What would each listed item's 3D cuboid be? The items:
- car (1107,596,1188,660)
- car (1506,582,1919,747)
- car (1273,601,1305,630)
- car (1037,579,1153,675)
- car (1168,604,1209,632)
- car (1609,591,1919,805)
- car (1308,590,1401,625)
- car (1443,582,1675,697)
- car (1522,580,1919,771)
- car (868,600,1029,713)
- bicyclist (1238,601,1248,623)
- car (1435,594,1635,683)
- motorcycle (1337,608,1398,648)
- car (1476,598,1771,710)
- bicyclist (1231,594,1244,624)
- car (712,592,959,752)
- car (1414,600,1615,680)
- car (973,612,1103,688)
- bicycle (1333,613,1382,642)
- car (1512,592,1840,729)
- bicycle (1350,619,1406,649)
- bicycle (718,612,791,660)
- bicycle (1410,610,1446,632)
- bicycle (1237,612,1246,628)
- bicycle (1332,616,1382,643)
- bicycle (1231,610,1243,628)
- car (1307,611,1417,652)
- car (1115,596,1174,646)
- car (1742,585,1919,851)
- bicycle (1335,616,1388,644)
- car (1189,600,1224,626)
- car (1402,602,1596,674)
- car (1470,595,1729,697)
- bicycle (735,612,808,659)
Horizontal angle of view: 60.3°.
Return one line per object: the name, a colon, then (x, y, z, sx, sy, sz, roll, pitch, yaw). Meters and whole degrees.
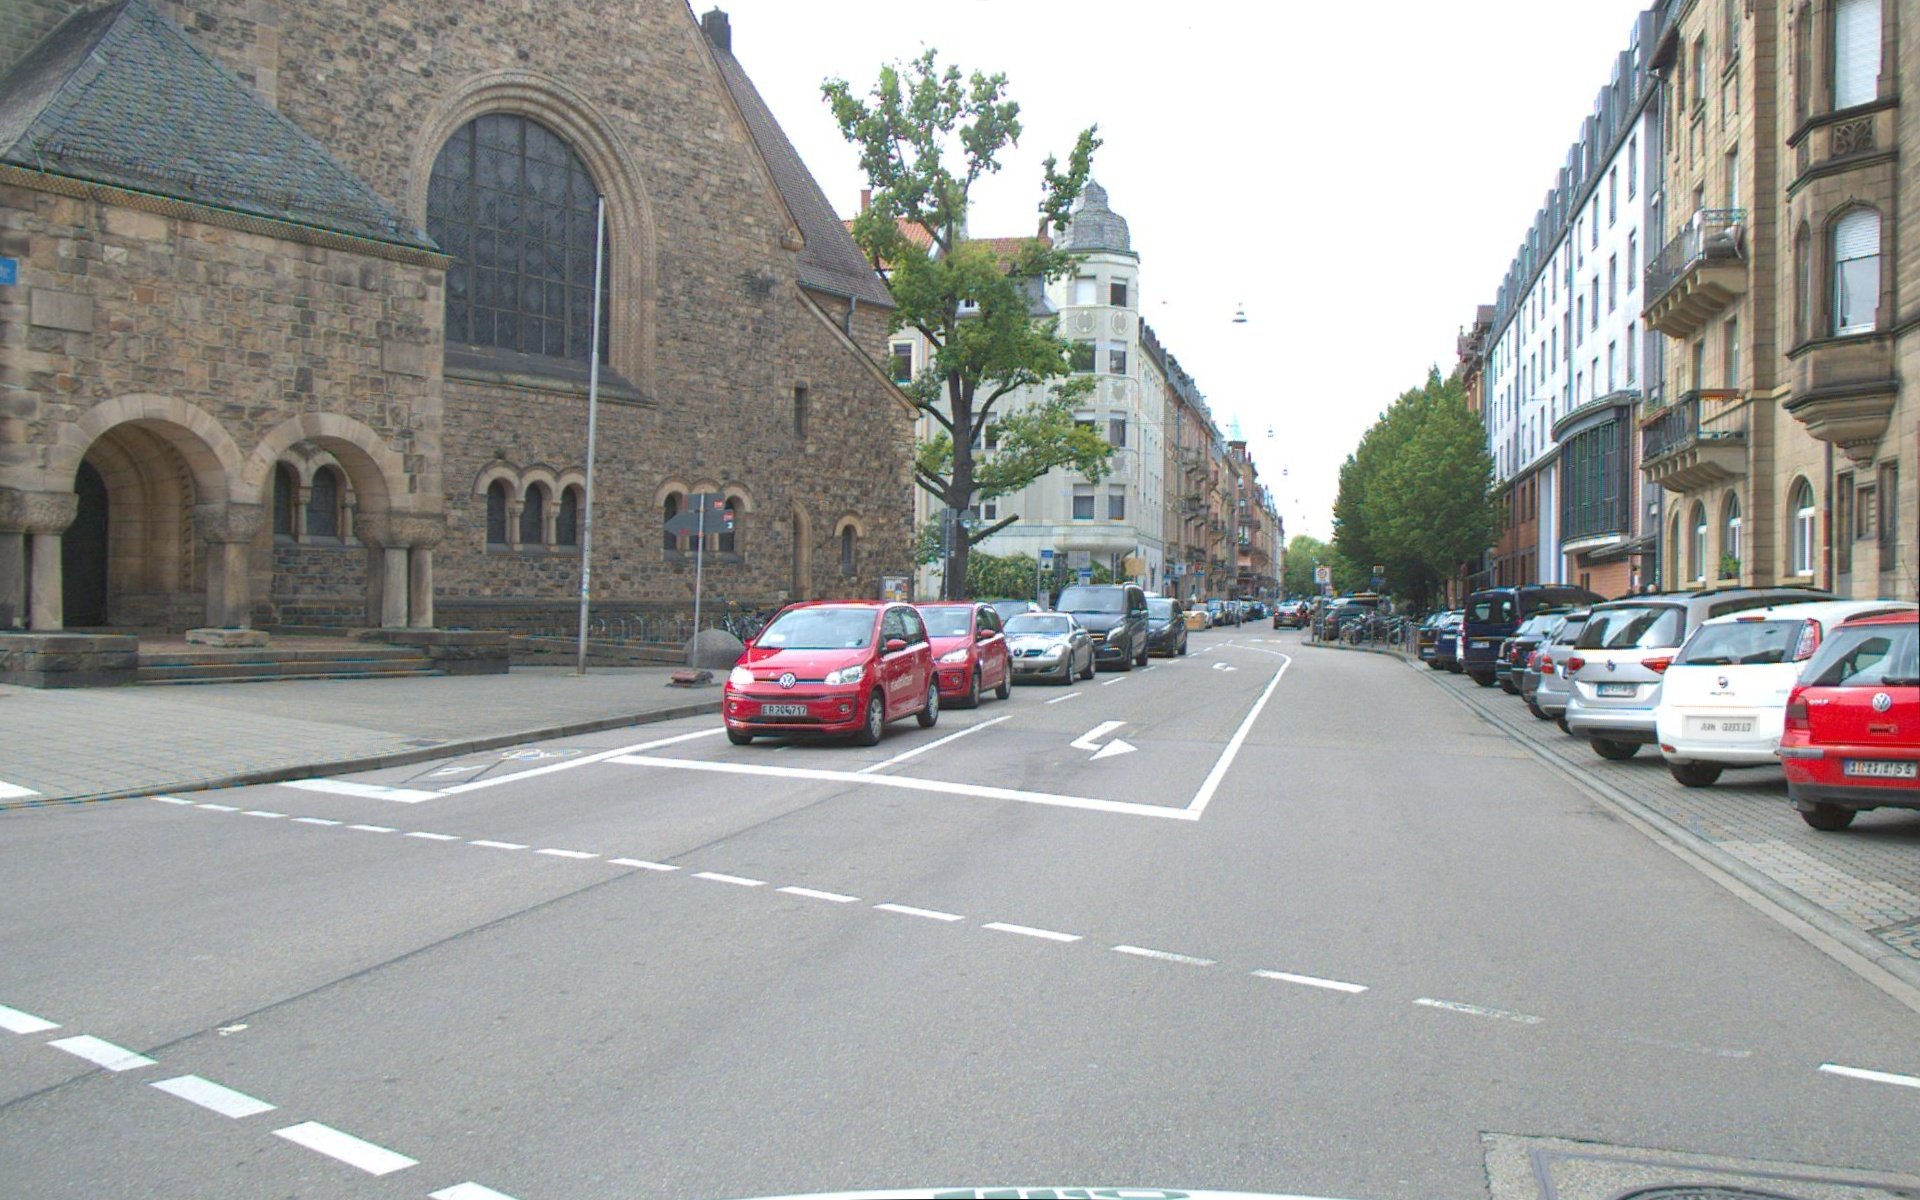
car: (5.445, 0.765, 47.539, 1.805, 1.713, 4.552, 1, 0, 13)
car: (9.109, 0.725, 19.970, 4.674, 1.715, 1.922, -1, -1, -24)
car: (21.064, 1.018, 105.829, 1.951, 1.710, 4.003, 1, -1, 11)
car: (3.153, 0.570, 37.567, 1.871, 1.989, 5.288, 1, 0, 13)
car: (13.372, 1.040, 96.623, 1.903, 1.580, 3.820, 0, -1, 15)
car: (7.506, 0.736, 14.056, 3.537, 1.535, 1.831, -2, -1, -29)
car: (24.608, 0.461, 103.188, 5.527, 2.164, 1.938, 0, -1, -22)
car: (11.548, 0.718, 31.844, 4.222, 1.940, 1.862, -3, 1, -29)
car: (7.994, 0.698, 16.701, 4.151, 1.712, 1.903, -1, -1, -22)
car: (-0.087, 0.792, 24.078, 1.568, 1.482, 3.721, -1, -1, 12)
bicyclist: (18.668, 0.813, 109.178, 0.654, 1.423, 0.784, 1, -1, 10)
car: (12.146, 0.774, 34.923, 3.941, 1.629, 1.750, -3, 1, -28)
motorcycle: (14.891, 1.026, 60.437, 2.088, 1.455, 0.771, -1, -2, 10)
car: (10.379, 0.793, 25.833, 4.396, 1.580, 1.836, -1, 0, -26)
bicyclist: (17.624, 0.572, 105.115, 0.765, 1.899, 0.715, 1, 0, 14)
car: (-1.252, 0.714, 18.317, 1.614, 1.555, 3.897, -2, 0, 13)
car: (12.586, 0.871, 37.604, 3.924, 1.560, 1.923, -3, 1, -17)
car: (1.535, 0.910, 30.937, 1.668, 1.309, 4.045, -2, -1, 14)
bicycle: (15.833, 1.093, 65.833, 1.843, 1.161, 0.612, -1, -2, 10)
car: (9.942, 0.773, 22.914, 4.397, 1.601, 1.732, -2, 0, -26)
bicycle: (15.520, 1.268, 61.381, 1.966, 1.081, 0.612, -1, -2, 10)
bicycle: (-5.214, 0.907, 41.945, 1.743, 1.150, 0.661, 1, 0, 26)
bicycle: (24.163, 1.093, 85.428, 1.715, 1.111, 0.566, 1, -1, 12)
bicycle: (18.583, 1.304, 109.120, 0.524, 0.995, 1.866, 1, -1, 12)
bicycle: (15.338, 1.144, 63.900, 1.843, 1.062, 0.612, -1, -2, 10)
bicycle: (17.562, 1.217, 104.810, 0.555, 1.106, 1.988, 1, 0, 14)
car: (16.981, 1.330, 69.965, 4.211, 1.606, 1.852, -1, 0, -21)
car: (7.823, 0.854, 69.835, 1.804, 1.973, 4.551, 1, 0, 14)
car: (7.178, 0.694, 11.125, 3.788, 1.589, 1.774, -1, -1, -34)
bicycle: (15.112, 1.135, 62.283, 1.888, 1.062, 0.612, -1, -2, 10)
car: (15.988, 0.846, 107.212, 1.903, 1.645, 3.946, 2, 0, 13)
car: (13.090, 0.898, 40.214, 4.172, 1.504, 1.680, -3, 1, -12)
car: (11.208, 0.782, 28.996, 4.009, 1.479, 2.015, -3, 0, -26)
bicycle: (-4.865, 0.906, 42.674, 1.743, 1.187, 0.741, 1, 0, 25)
